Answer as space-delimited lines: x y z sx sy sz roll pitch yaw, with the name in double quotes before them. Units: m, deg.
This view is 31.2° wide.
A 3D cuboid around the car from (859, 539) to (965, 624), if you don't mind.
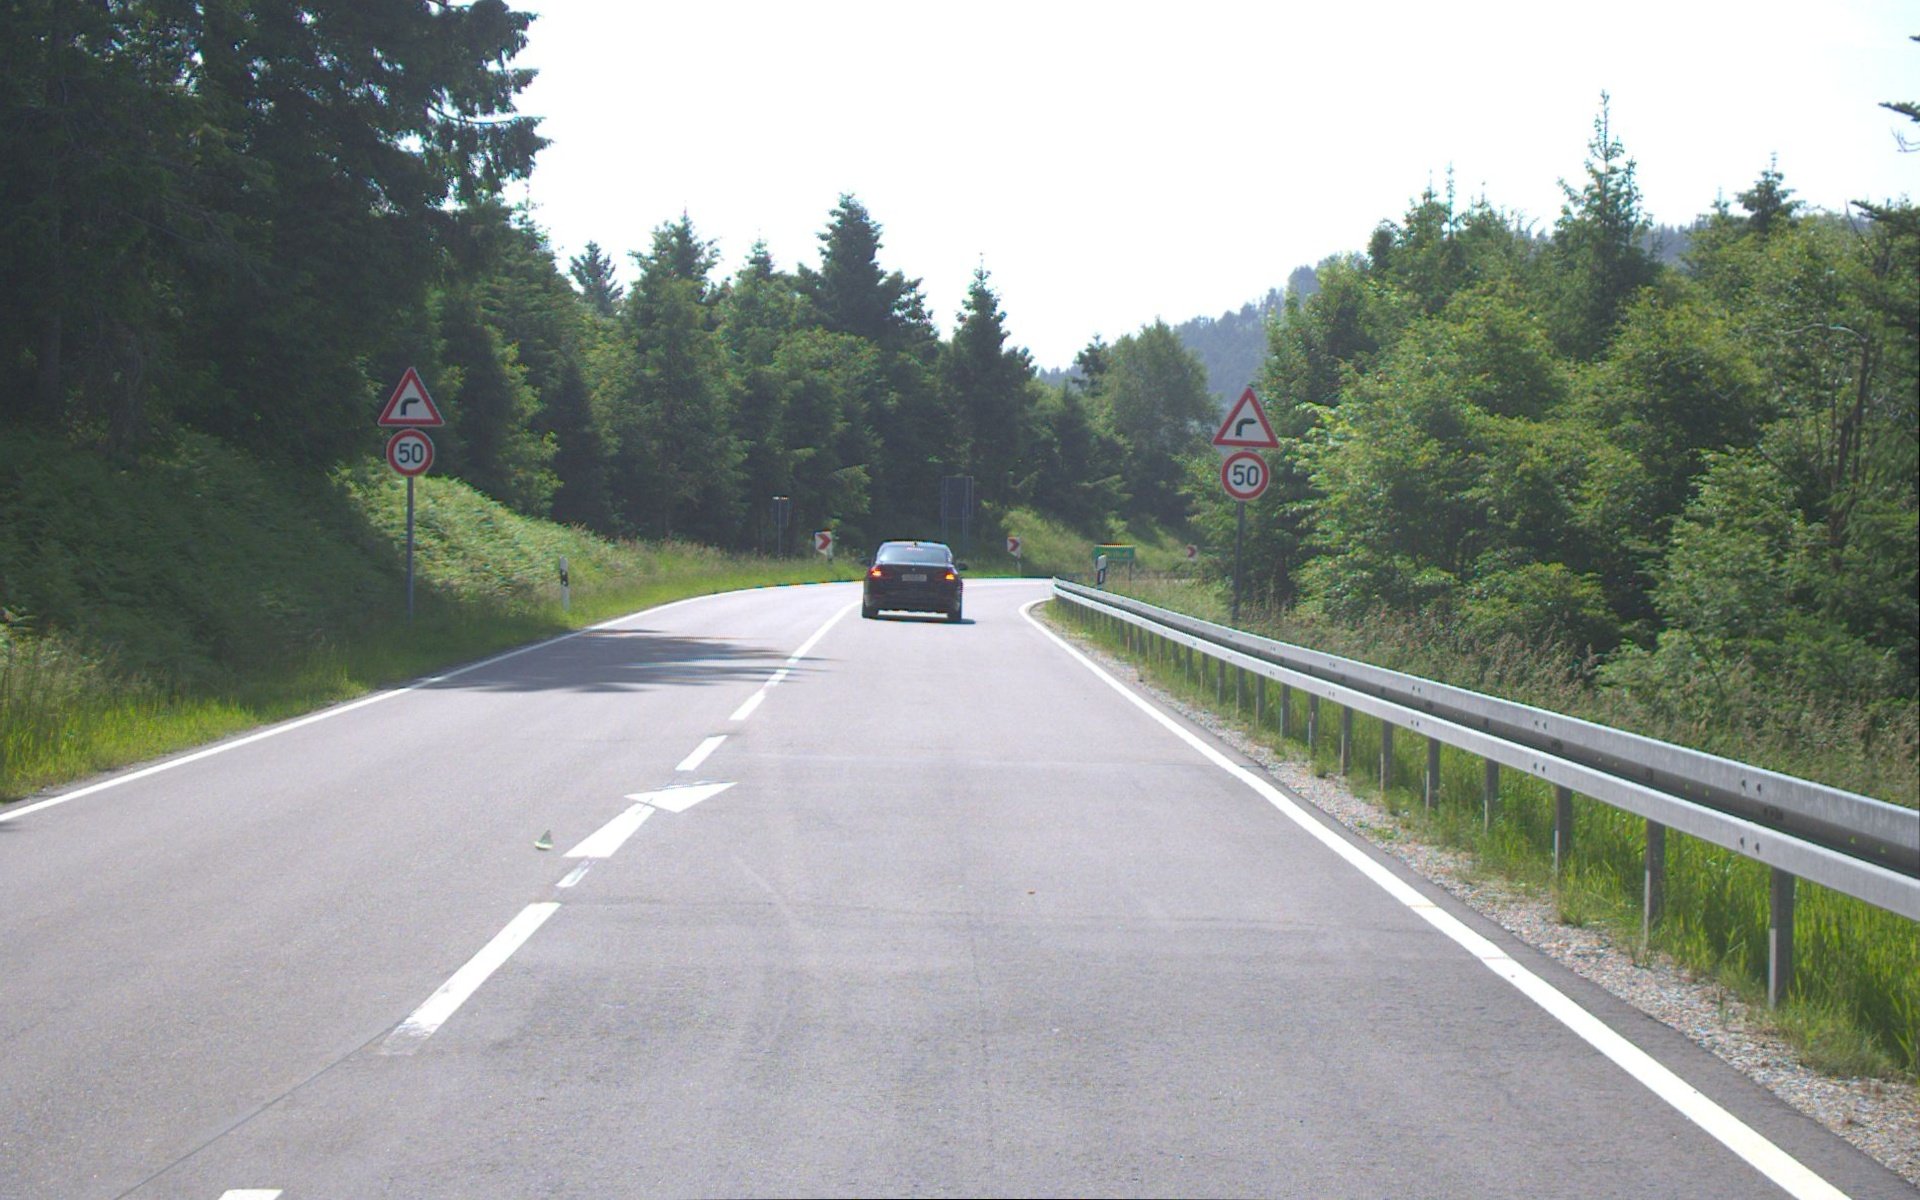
"car" -0.848 -0.358 62.719 1.776 1.437 3.709 2 1 1
